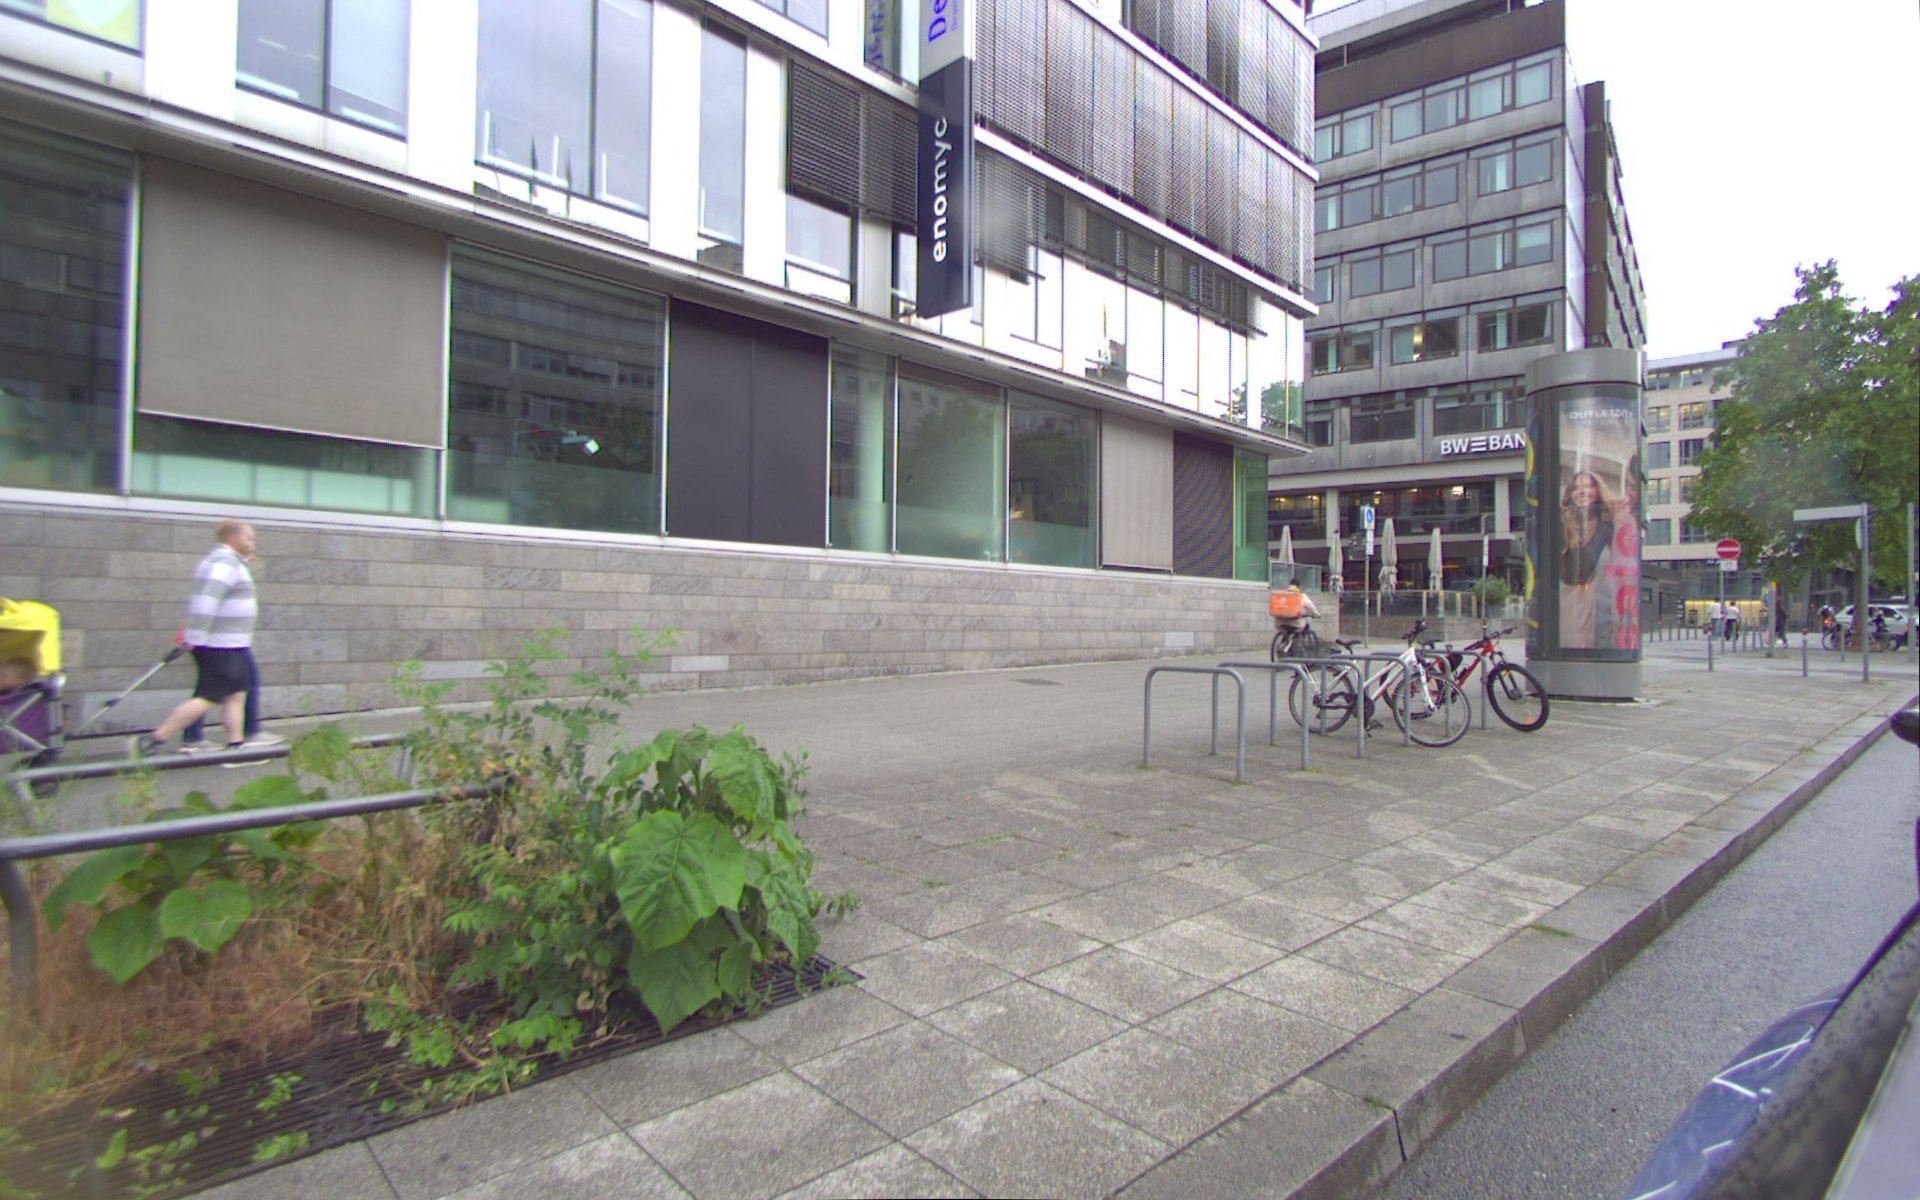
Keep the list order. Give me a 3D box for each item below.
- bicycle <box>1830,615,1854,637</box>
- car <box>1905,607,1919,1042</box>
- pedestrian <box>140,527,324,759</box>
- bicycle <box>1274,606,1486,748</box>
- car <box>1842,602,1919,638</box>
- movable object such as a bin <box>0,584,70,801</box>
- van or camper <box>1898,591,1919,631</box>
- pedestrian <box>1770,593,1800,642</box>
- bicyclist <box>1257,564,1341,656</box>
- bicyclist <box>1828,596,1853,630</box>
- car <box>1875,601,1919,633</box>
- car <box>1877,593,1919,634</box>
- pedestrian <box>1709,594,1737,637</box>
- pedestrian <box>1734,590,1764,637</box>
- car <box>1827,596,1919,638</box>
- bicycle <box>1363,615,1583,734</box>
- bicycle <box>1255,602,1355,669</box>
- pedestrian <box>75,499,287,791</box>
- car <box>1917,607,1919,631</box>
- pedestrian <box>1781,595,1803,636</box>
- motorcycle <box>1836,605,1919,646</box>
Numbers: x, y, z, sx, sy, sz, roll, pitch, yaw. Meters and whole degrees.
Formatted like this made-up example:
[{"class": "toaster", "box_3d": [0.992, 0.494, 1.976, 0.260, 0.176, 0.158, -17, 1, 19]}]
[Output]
[{"class": "bicycle", "box_3d": [47.955, 1.436, 55.030, 1.945, 1.154, 0.775, 1, -5, -45]}, {"class": "car", "box_3d": [5.076, 0.740, 4.055, 3.770, 1.435, 1.631, 0, -1, -43]}, {"class": "pedestrian", "box_3d": [-5.820, 0.304, 8.106, 0.718, 1.711, 1.082, 2, 1, 44]}, {"class": "bicycle", "box_3d": [4.046, 0.685, 9.892, 0.648, 1.212, 1.841, 1, 0, -37]}, {"class": "car", "box_3d": [41.080, 0.858, 43.398, 1.877, 1.493, 4.729, 0, -1, -9]}, {"class": "movable object such as a bin", "box_3d": [-6.217, 0.554, 5.973, 1.420, 1.280, 0.732, -1, 1, -44]}, {"class": "van or camper", "box_3d": [61.334, 0.637, 61.432, 2.267, 2.479, 6.275, 0, -1, -11]}, {"class": "pedestrian", "box_3d": [28.875, 0.606, 35.418, 0.716, 1.707, 0.523, -1, -2, 32]}, {"class": "bicyclist", "box_3d": [6.242, 0.195, 18.636, 1.118, 1.603, 1.012, 0, -3, -45]}, {"class": "bicyclist", "box_3d": [47.812, 0.700, 54.952, 1.062, 1.772, 0.810, -1, -4, -44]}, {"class": "car", "box_3d": [46.779, 0.808, 48.221, 1.876, 1.557, 4.399, 0, -1, -14]}, {"class": "car", "box_3d": [48.789, 0.663, 50.231, 1.882, 2.018, 4.525, 0, -1, -12]}, {"class": "pedestrian", "box_3d": [34.157, 0.683, 45.306, 0.883, 1.893, 0.802, 1, -2, -42]}, {"class": "pedestrian", "box_3d": [34.850, 0.607, 44.700, 0.739, 2.065, 0.852, 1, -2, -35]}, {"class": "car", "box_3d": [38.722, 0.686, 41.370, 1.876, 1.671, 4.812, 0, -1, -11]}, {"class": "bicycle", "box_3d": [5.506, 0.750, 10.983, 0.793, 1.118, 1.989, 1, 0, -37]}, {"class": "bicycle", "box_3d": [6.431, 0.622, 18.806, 1.009, 1.128, 2.034, 1, 1, 44]}, {"class": "pedestrian", "box_3d": [-5.362, 0.262, 6.974, 0.900, 1.814, 1.030, 2, 1, 44]}, {"class": "car", "box_3d": [58.723, 1.079, 58.932, 1.673, 1.442, 4.068, 0, -1, -12]}, {"class": "pedestrian", "box_3d": [39.319, 0.720, 47.824, 0.719, 1.908, 0.646, -2, -2, 43]}, {"class": "motorcycle", "box_3d": [31.782, 0.865, 35.039, 0.664, 1.375, 2.090, 1, -2, -34]}]
